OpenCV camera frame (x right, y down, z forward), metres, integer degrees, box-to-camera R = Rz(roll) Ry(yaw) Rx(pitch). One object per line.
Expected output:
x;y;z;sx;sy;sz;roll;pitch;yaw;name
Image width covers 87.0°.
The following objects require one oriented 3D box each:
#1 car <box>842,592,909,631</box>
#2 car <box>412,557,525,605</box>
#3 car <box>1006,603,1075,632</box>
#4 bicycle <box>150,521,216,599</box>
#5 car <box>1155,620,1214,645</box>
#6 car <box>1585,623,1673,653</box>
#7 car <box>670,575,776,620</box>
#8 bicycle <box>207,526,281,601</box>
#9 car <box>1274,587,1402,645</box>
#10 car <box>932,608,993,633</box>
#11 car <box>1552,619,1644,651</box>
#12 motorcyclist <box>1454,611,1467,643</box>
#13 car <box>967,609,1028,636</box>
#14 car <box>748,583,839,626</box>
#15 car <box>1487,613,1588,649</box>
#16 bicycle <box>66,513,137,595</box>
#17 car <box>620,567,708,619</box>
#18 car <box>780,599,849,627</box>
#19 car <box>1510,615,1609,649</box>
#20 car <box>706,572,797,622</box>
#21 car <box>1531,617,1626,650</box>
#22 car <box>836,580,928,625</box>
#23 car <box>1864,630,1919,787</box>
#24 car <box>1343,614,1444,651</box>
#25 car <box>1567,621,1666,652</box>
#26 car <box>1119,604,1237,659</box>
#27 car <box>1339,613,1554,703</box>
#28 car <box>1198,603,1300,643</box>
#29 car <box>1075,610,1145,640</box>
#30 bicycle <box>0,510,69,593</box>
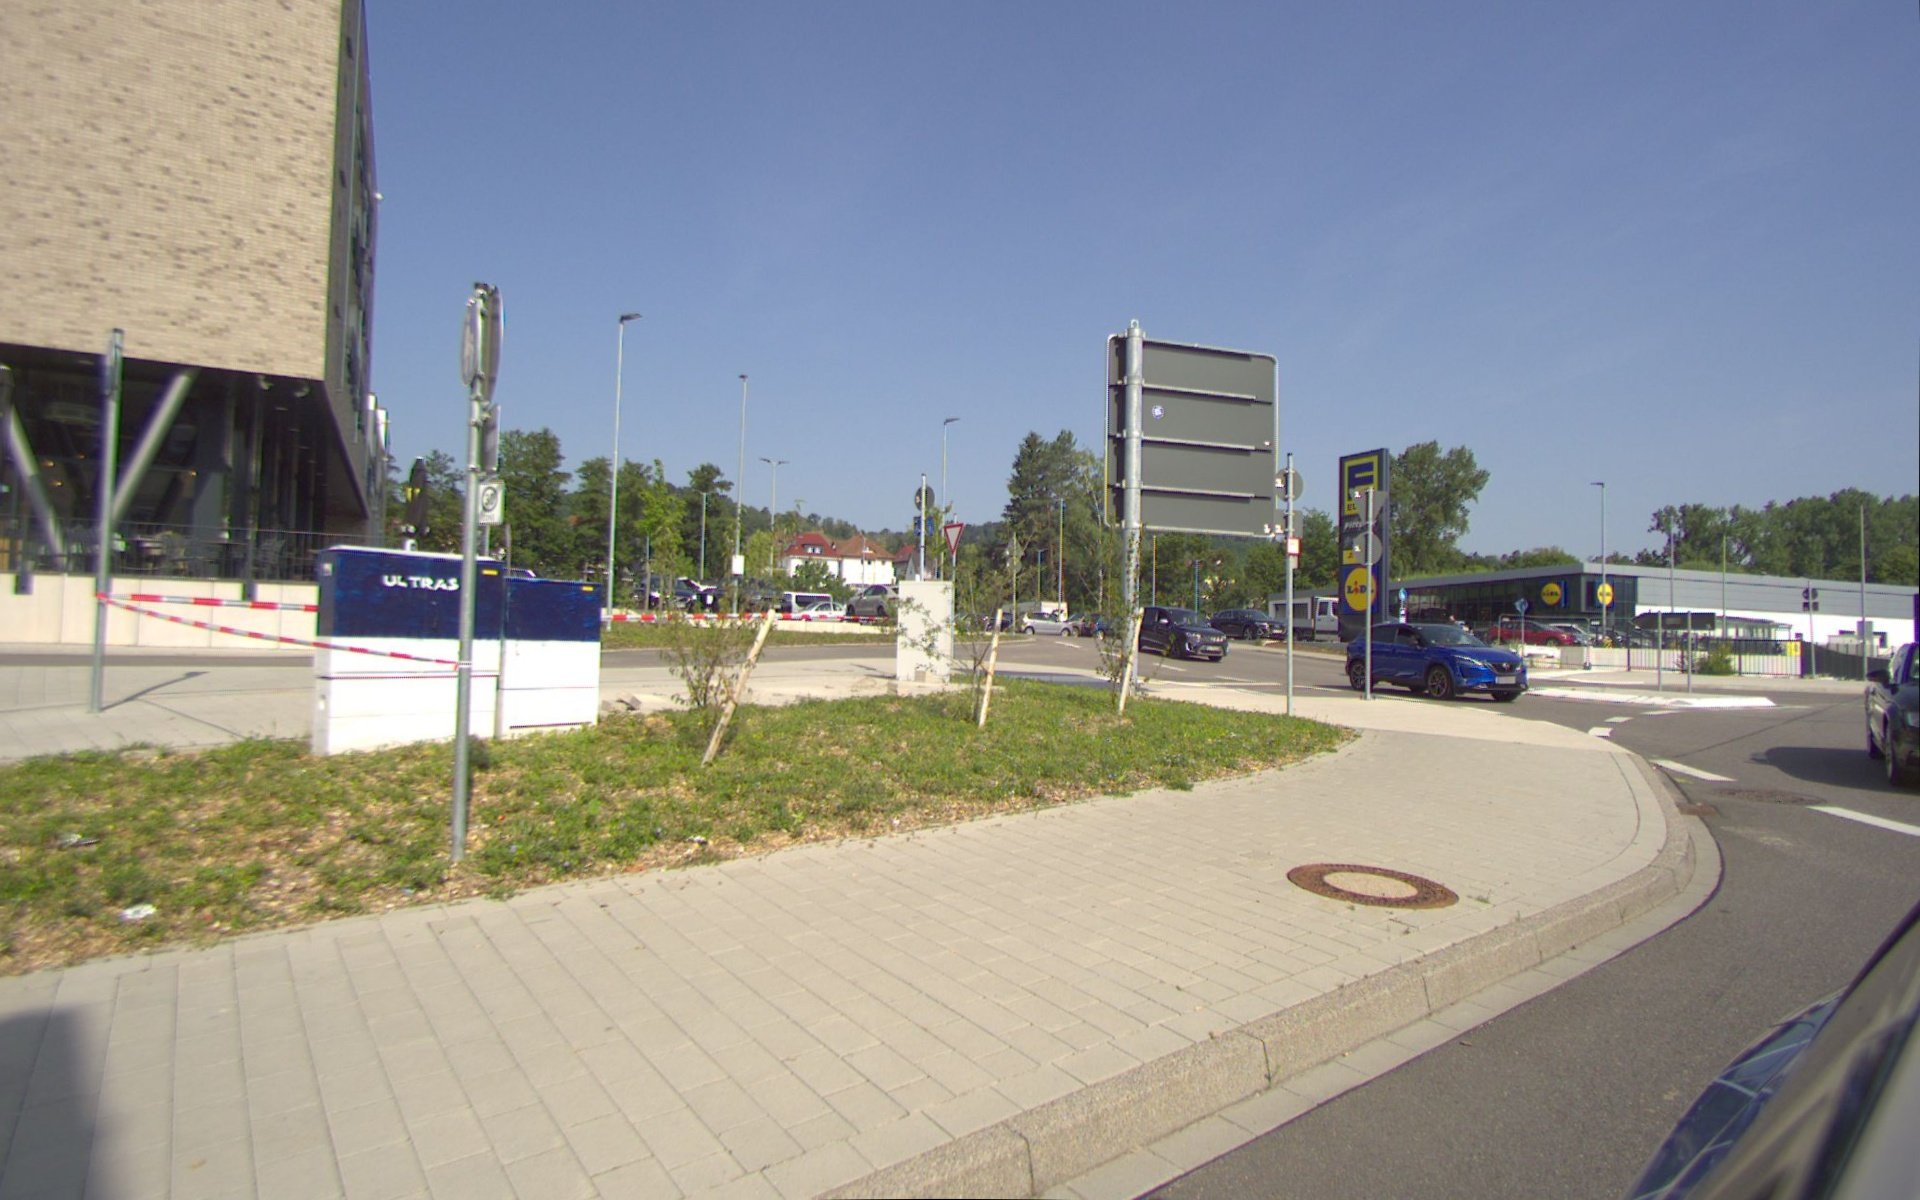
-6.308;0.923;75.363;4.552;2.652;2.001;2;-5;-28;car
-16.953;-0.618;34.938;3.268;1.369;1.490;3;-5;-35;car
4.506;1.024;56.748;3.556;1.465;1.527;2;-5;-26;car
-13.976;-0.684;18.170;0.752;1.160;2.240;4;-6;-41;bicycle
15.471;2.264;69.780;3.709;1.595;1.765;2;-5;-27;car
38.885;2.227;58.890;1.675;1.595;3.988;4;-6;-44;car
-11.299;-0.084;48.254;4.486;1.905;2.002;3;-3;-29;car
-13.248;-0.638;18.700;0.842;1.160;2.240;4;-6;-41;bicycle
18.059;0.871;48.745;2.017;2.415;6.098;2;-5;-24;car
0.163;1.323;64.218;3.556;1.465;1.527;2;-5;-26;car
34.939;1.963;55.486;1.675;1.595;3.988;4;-6;-44;car
24.991;1.374;50.557;0.509;1.563;0.577;-2;-5;25;motorcyclist
2.178;1.324;59.032;3.301;1.392;1.525;3;-4;-35;car
-9.172;0.299;55.817;4.561;2.041;1.997;4;-6;-38;car
28.725;1.569;50.415;1.748;1.595;4.013;4;-6;-41;car
-14.965;-0.759;17.631;0.842;1.160;2.240;4;-6;-41;bicycle
-10.456;-0.252;35.530;1.820;1.575;4.465;5;-2;-30;car
-7.711;0.724;53.691;3.269;1.369;1.627;2;-4;-36;car
30.662;1.680;51.829;1.748;1.595;4.013;4;-6;-41;car
-7.676;-0.143;36.875;1.820;1.575;4.465;5;-2;-30;car
32.803;1.826;53.714;1.675;1.595;3.988;4;-6;-44;car
-3.181;0.076;40.287;1.820;1.575;4.828;5;-2;-28;car
10.073;0.960;9.777;1.713;1.340;4.163;-3;-4;39;car
20.977;1.627;49.188;1.795;1.624;4.482;2;-5;-24;car
36.960;2.087;57.079;1.675;1.595;4.402;4;-6;-44;car
7.110;0.993;33.464;1.609;1.409;4.241;2;3;-22;car
10.496;1.182;22.250;1.847;1.684;4.362;1;0;-15;car
13.112;1.110;46.284;1.882;1.551;4.866;2;-5;-22;car
8.745;1.463;58.913;3.709;1.595;1.765;2;-5;-27;car
-15.795;-0.785;17.242;0.842;1.160;2.240;4;-6;-41;bicycle
